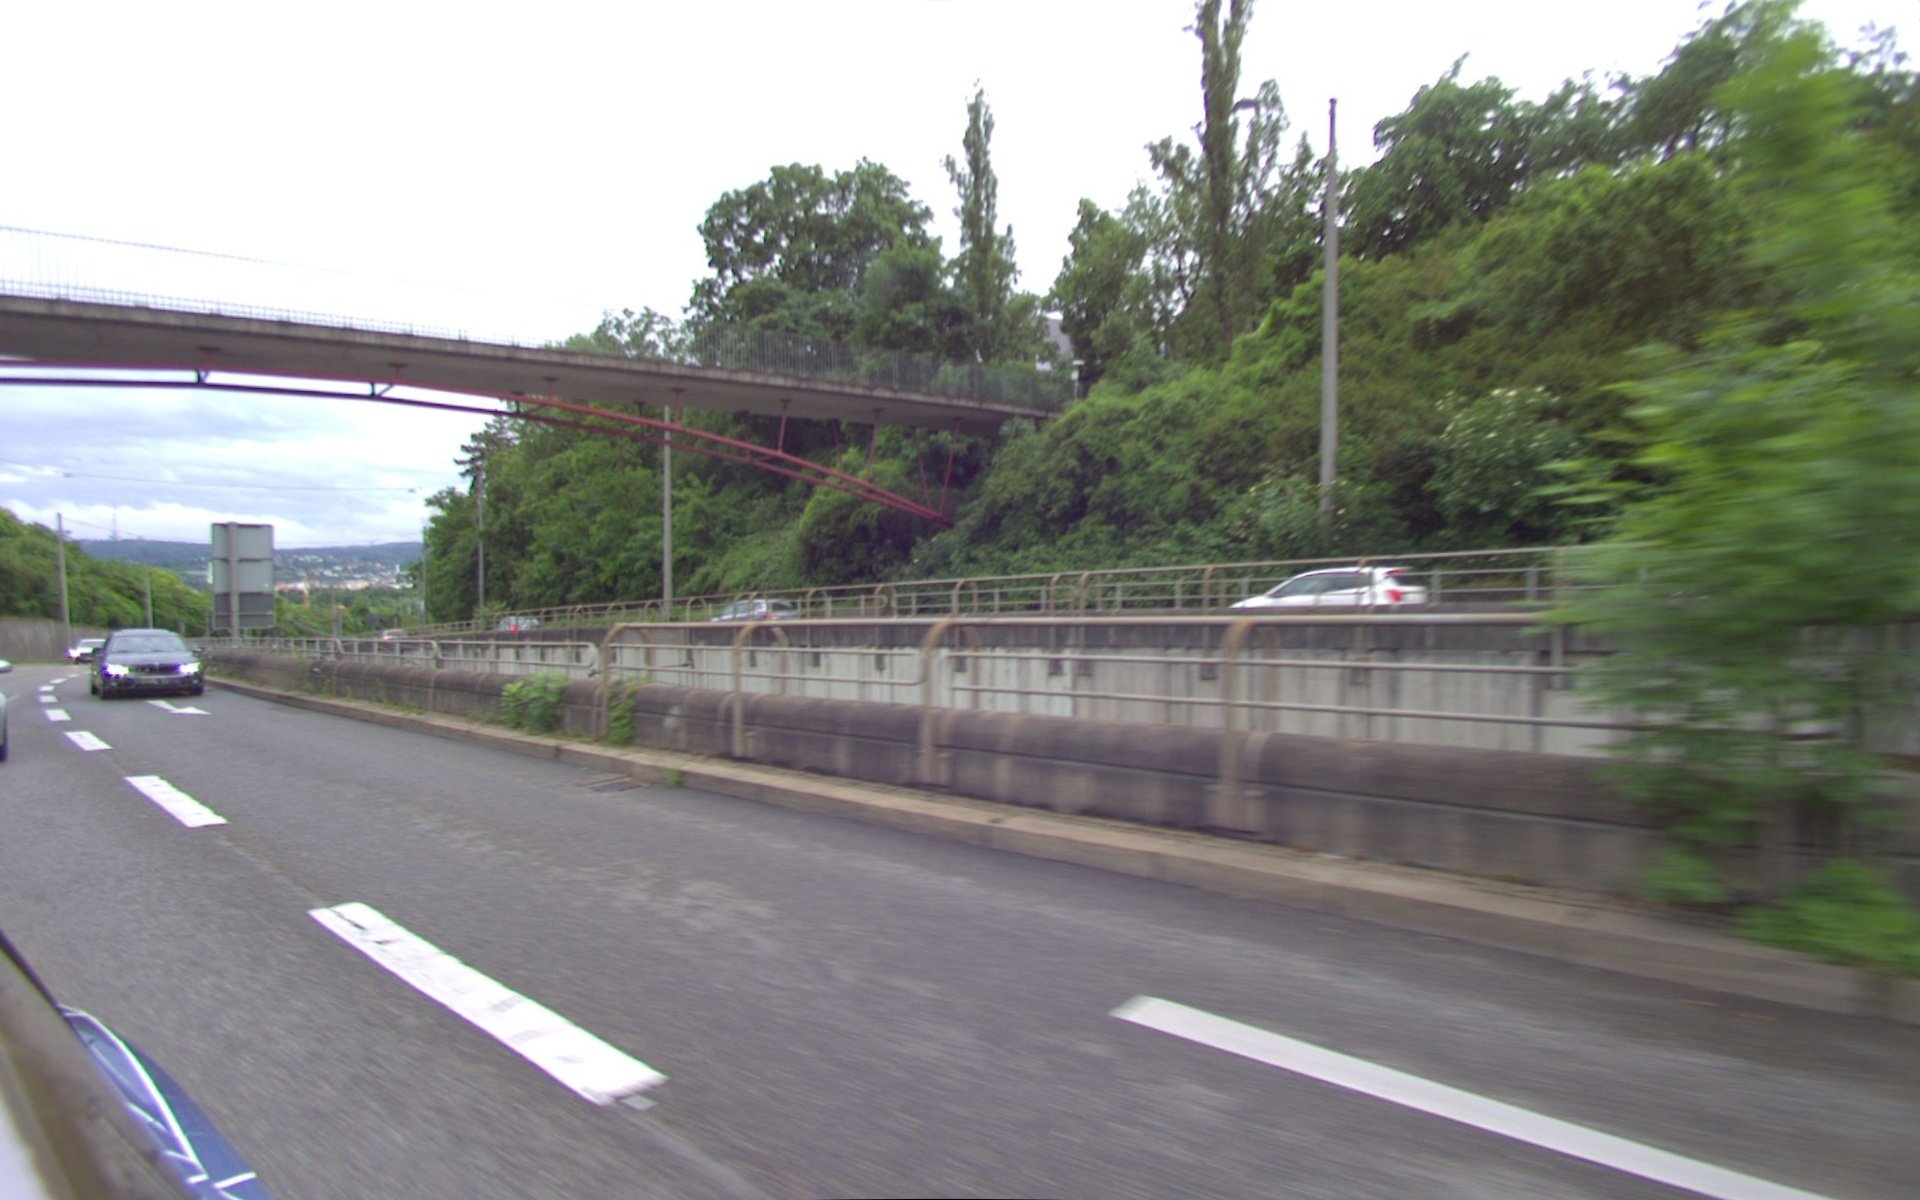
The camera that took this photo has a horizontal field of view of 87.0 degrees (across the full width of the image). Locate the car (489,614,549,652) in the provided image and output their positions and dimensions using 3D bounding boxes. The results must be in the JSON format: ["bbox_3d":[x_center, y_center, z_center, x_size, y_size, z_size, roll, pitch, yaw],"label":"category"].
[{"bbox_3d":[-23.423,1.747,53.659,1.650,1.930,4.566,1,-2,-40],"label":"car"}]

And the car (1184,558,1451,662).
[{"bbox_3d":[7.069,0.200,20.309,4.630,1.848,1.972,-1,0,43],"label":"car"}]

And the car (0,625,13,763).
[{"bbox_3d":[-12.000,1.015,11.379,4.317,1.413,1.835,-1,-1,45],"label":"car"}]

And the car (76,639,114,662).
[{"bbox_3d":[-63.789,3.694,74.700,1.782,1.521,4.009,-2,0,-36],"label":"car"}]

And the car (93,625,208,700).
[{"bbox_3d":[-17.914,1.328,22.331,1.705,1.482,3.891,0,-2,-43],"label":"car"}]

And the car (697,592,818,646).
[{"bbox_3d":[-7.076,0.684,35.015,1.969,1.734,4.710,2,-3,-42],"label":"car"}]

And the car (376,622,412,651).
[{"bbox_3d":[-37.148,2.437,66.419,1.648,1.844,4.010,1,-3,-35],"label":"car"}]
